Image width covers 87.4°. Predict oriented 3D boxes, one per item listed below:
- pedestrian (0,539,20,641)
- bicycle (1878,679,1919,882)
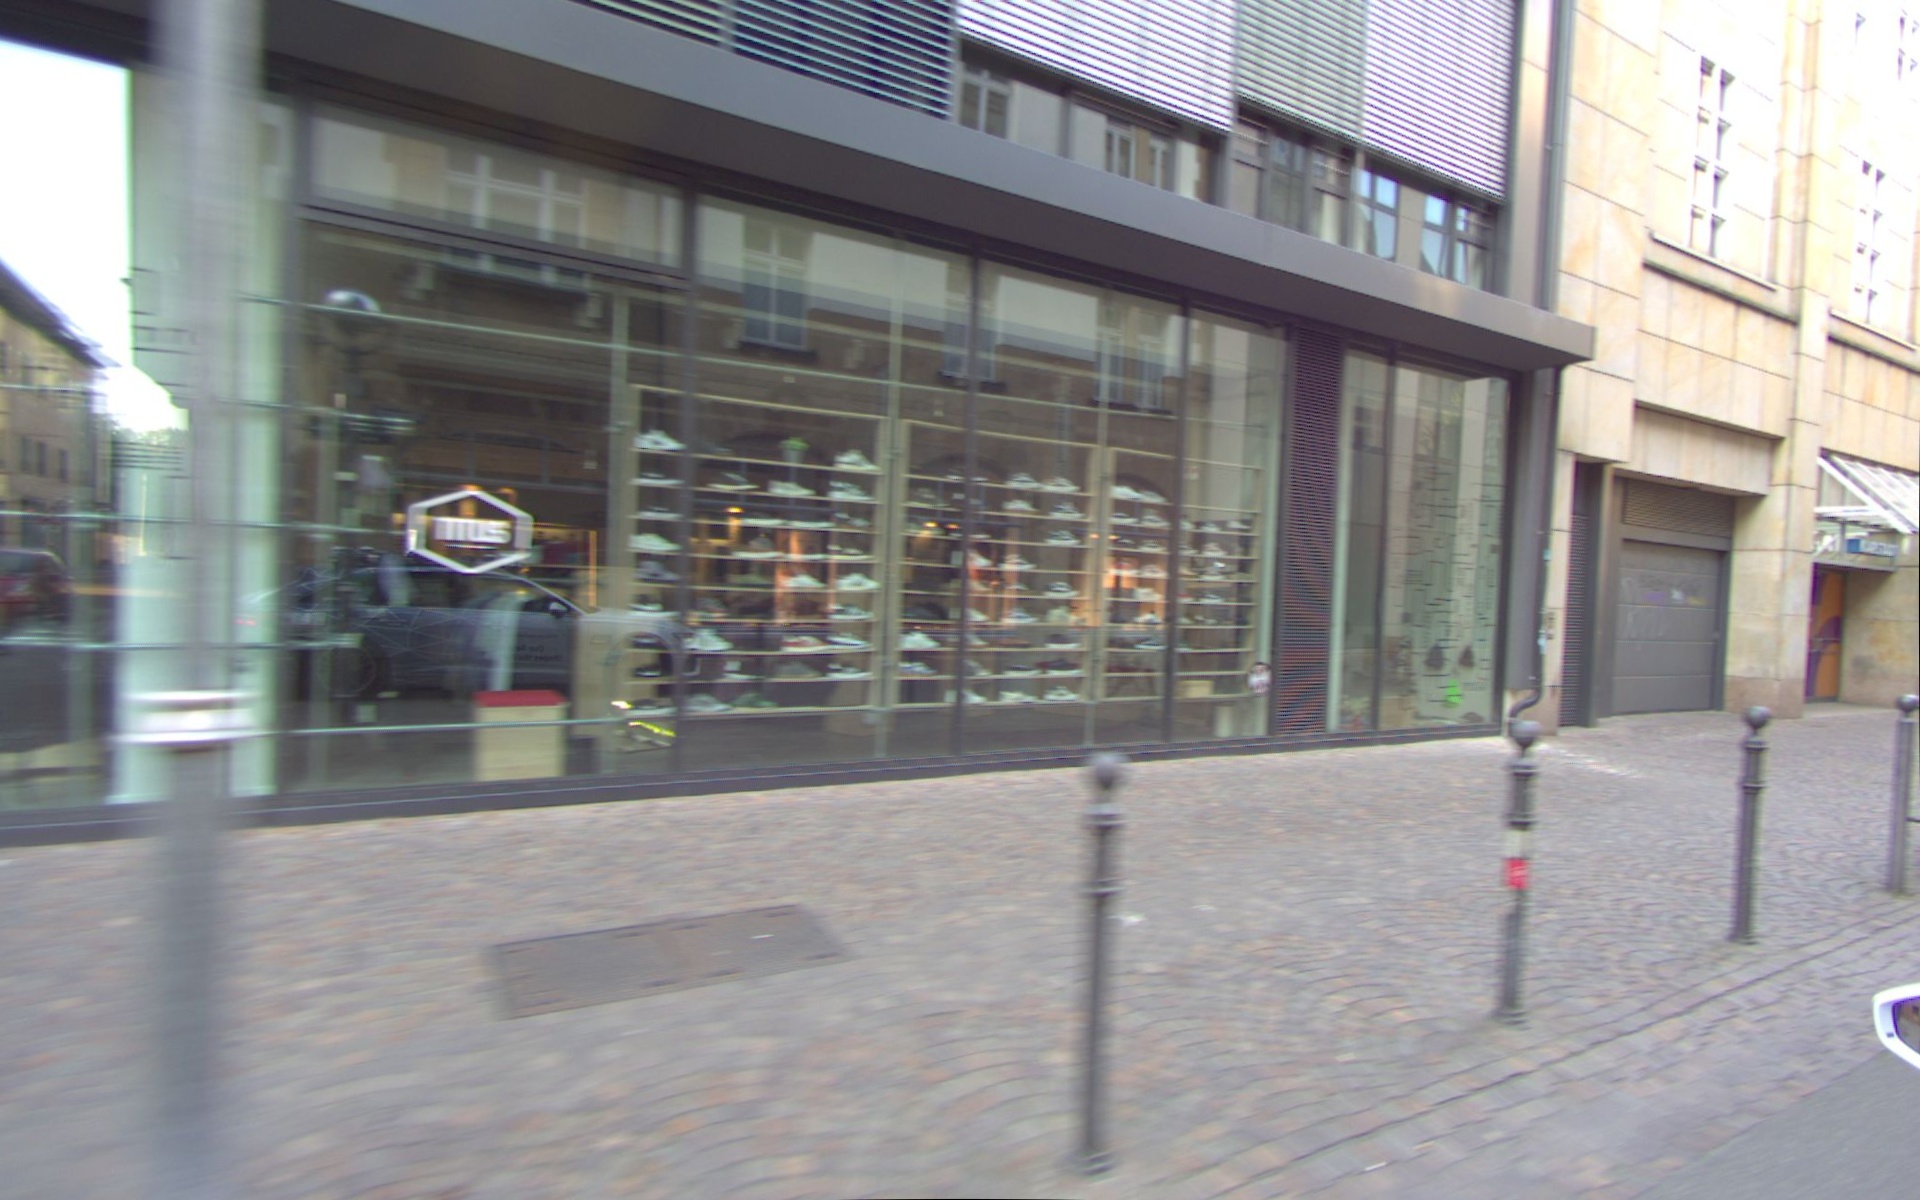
[{"bbox_3d":[-16.412,-0.183,16.724,0.891,1.683,0.923,1,2,-29],"label":"pedestrian"},{"bbox_3d":[6.373,1.081,6.321,1.911,1.147,0.407,1,2,-35],"label":"bicycle"}]
